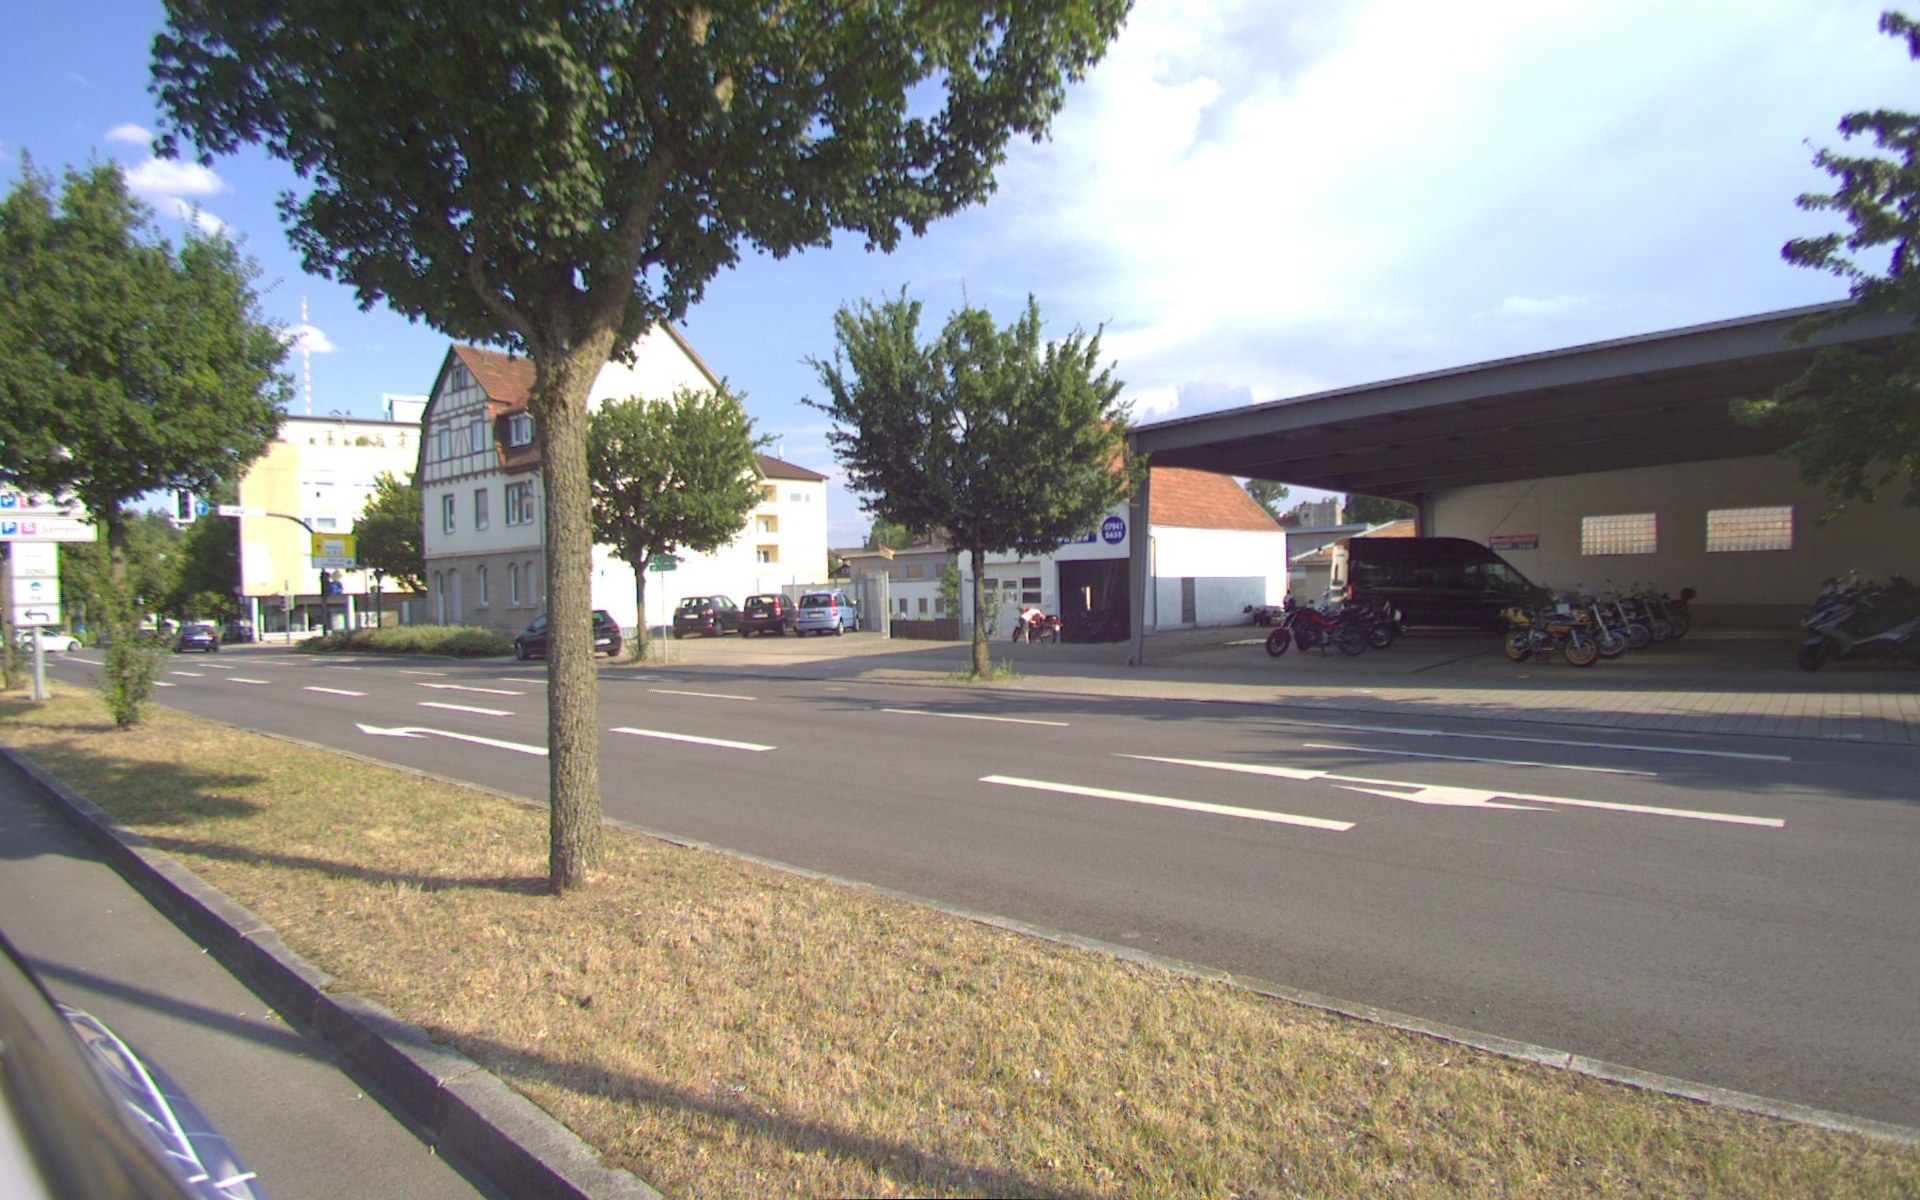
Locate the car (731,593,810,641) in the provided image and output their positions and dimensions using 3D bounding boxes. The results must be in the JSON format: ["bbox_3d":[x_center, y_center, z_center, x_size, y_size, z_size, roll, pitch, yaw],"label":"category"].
[{"bbox_3d":[-6.917,0.580,37.322,1.797,1.512,3.819,-3,2,5],"label":"car"}]

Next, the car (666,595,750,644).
[{"bbox_3d":[-9.318,0.684,37.714,1.797,1.512,3.819,-3,2,5],"label":"car"}]

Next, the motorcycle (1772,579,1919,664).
[{"bbox_3d":[14.916,0.357,16.789,2.103,1.306,0.628,-3,-1,18],"label":"motorcycle"}]

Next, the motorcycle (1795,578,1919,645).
[{"bbox_3d":[19.038,0.251,21.302,2.103,1.306,0.628,-3,-1,18],"label":"motorcycle"}]

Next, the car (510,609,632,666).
[{"bbox_3d":[-11.596,1.076,30.092,3.823,1.462,1.795,-1,2,42],"label":"car"}]

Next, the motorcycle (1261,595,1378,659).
[{"bbox_3d":[7.500,0.557,21.174,2.202,1.290,0.629,-1,0,11],"label":"motorcycle"}]

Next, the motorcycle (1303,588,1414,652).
[{"bbox_3d":[8.960,0.445,22.818,2.198,1.372,0.630,-1,0,5],"label":"motorcycle"}]

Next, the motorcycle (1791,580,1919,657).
[{"bbox_3d":[16.534,0.335,18.361,2.103,1.306,0.628,-3,-1,18],"label":"motorcycle"}]

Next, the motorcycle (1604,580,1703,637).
[{"bbox_3d":[17.294,0.214,25.316,0.621,1.347,2.269,-1,0,-9],"label":"motorcycle"}]

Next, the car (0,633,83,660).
[{"bbox_3d":[-56.382,2.803,61.635,1.764,1.480,4.359,-1,0,11],"label":"car"}]

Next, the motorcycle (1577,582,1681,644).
[{"bbox_3d":[15.541,0.297,23.592,0.621,1.347,2.269,-1,0,-9],"label":"motorcycle"}]

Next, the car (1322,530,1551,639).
[{"bbox_3d":[12.870,-0.384,27.642,5.221,2.773,1.996,-1,0,7],"label":"car"}]

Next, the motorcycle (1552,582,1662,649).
[{"bbox_3d":[13.868,0.319,21.783,0.621,1.347,2.269,-1,0,-9],"label":"motorcycle"}]

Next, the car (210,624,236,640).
[{"bbox_3d":[-80.149,3.460,110.136,1.752,1.706,4.013,-1,0,-28],"label":"car"}]

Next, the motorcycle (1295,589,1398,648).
[{"bbox_3d":[9.382,0.447,24.621,2.198,1.372,0.630,-1,0,5],"label":"motorcycle"}]

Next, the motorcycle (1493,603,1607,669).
[{"bbox_3d":[10.534,0.615,18.165,0.621,1.095,2.038,-1,0,-7],"label":"motorcycle"}]

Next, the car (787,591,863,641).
[{"bbox_3d":[-4.678,0.514,35.692,1.797,1.512,3.819,-3,2,5],"label":"car"}]

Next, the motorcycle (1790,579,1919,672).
[{"bbox_3d":[13.864,0.371,15.129,2.103,1.306,0.628,-3,-1,18],"label":"motorcycle"}]

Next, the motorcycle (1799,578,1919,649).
[{"bbox_3d":[18.048,0.265,20.001,2.103,1.306,0.628,-3,-1,18],"label":"motorcycle"}]

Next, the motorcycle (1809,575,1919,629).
[{"bbox_3d":[23.738,0.067,26.534,2.103,1.306,0.628,-3,-1,18],"label":"motorcycle"}]

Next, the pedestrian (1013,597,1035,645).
[{"bbox_3d":[2.076,0.670,32.779,0.485,1.530,0.496,-1,0,41],"label":"pedestrian"}]

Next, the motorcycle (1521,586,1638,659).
[{"bbox_3d":[12.162,0.433,19.970,0.621,1.347,2.269,-1,0,-9],"label":"motorcycle"}]

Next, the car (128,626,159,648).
[{"bbox_3d":[-67.618,3.024,83.830,1.753,1.706,4.010,-1,0,-35],"label":"car"}]

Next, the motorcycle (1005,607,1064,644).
[{"bbox_3d":[2.438,0.833,33.224,1.974,1.194,0.577,-1,0,41],"label":"motorcycle"}]

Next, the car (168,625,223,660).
[{"bbox_3d":[-39.914,2.177,52.805,4.002,1.706,1.757,-1,0,45],"label":"car"}]

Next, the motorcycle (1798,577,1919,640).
[{"bbox_3d":[20.232,0.201,22.657,2.103,1.306,0.628,-3,-1,18],"label":"motorcycle"}]
